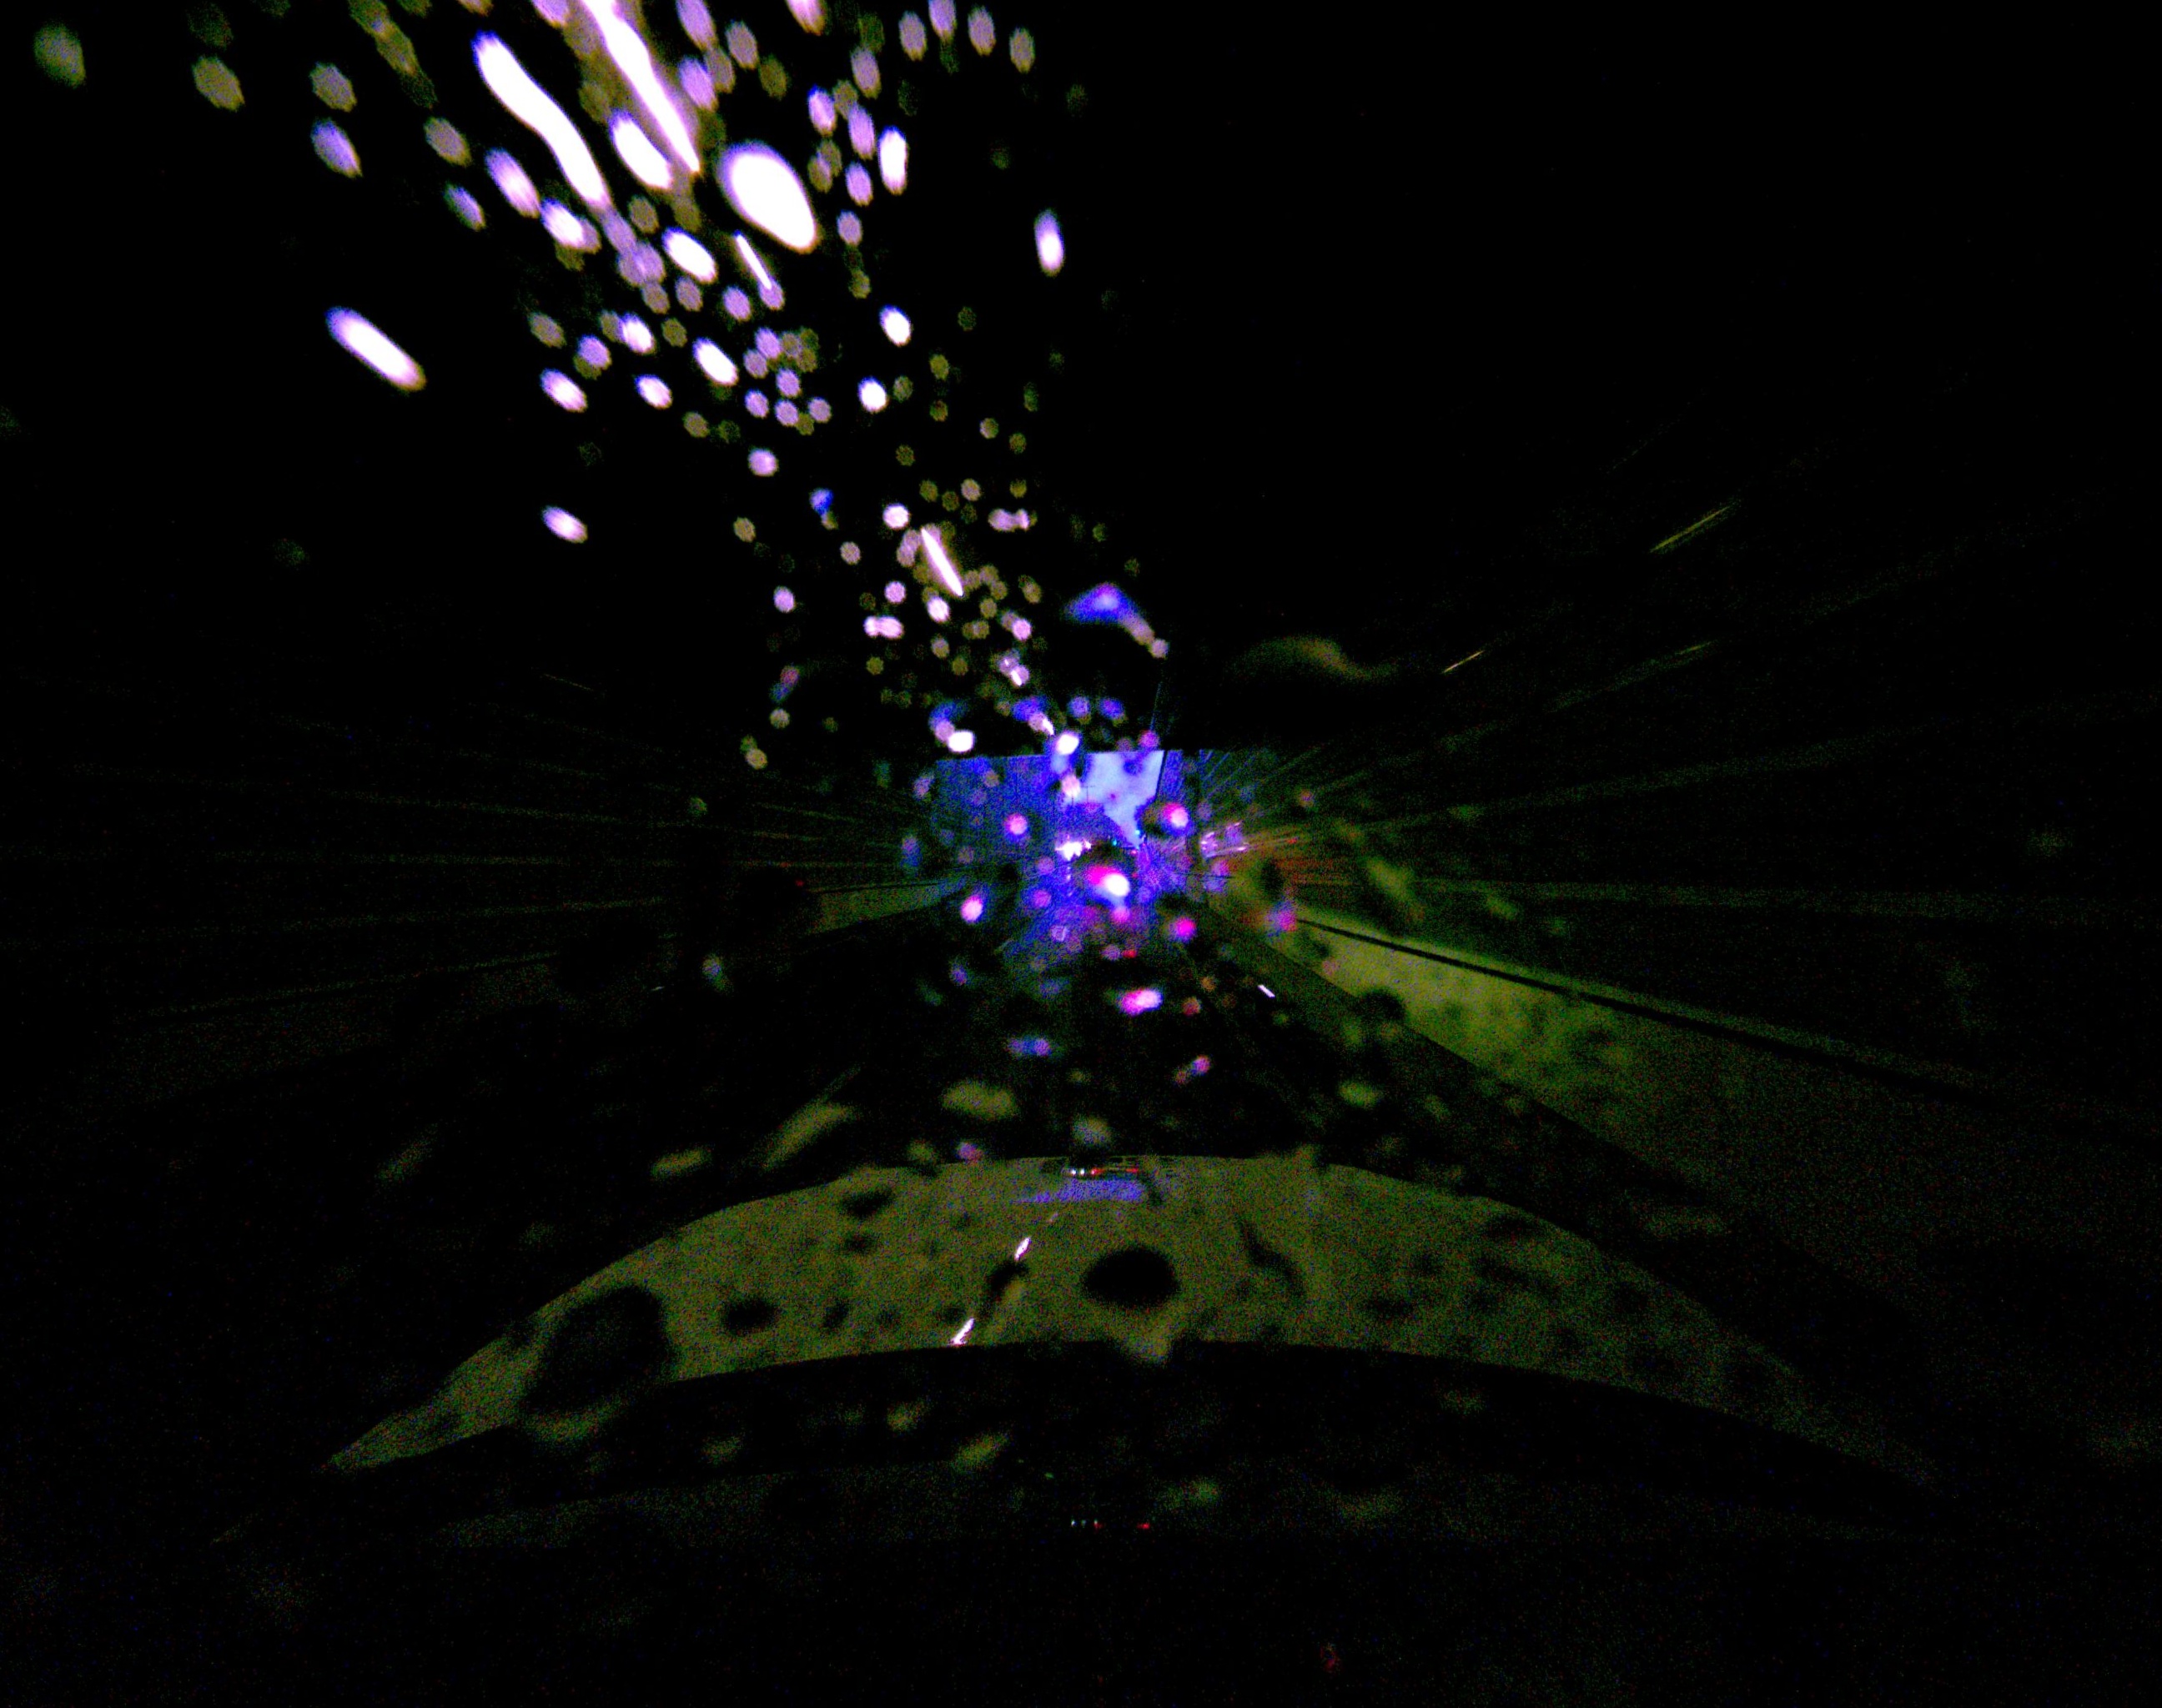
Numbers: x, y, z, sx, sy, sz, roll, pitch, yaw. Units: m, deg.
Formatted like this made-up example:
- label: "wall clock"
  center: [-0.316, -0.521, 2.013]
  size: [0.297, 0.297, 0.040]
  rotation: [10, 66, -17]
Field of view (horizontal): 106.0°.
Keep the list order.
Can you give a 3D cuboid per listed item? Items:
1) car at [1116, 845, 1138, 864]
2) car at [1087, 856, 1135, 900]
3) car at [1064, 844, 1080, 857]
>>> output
- label: "car"
  center: [4.184, 0.096, 74.877]
  size: [1.873, 1.621, 4.001]
  rotation: [1, -2, 2]
- label: "car"
  center: [1.064, 0.787, 27.944]
  size: [1.525, 1.397, 3.437]
  rotation: [1, -1, 4]
- label: "car"
  center: [-1.320, -0.487, 118.188]
  size: [1.872, 1.621, 4.004]
  rotation: [1, -2, 4]
